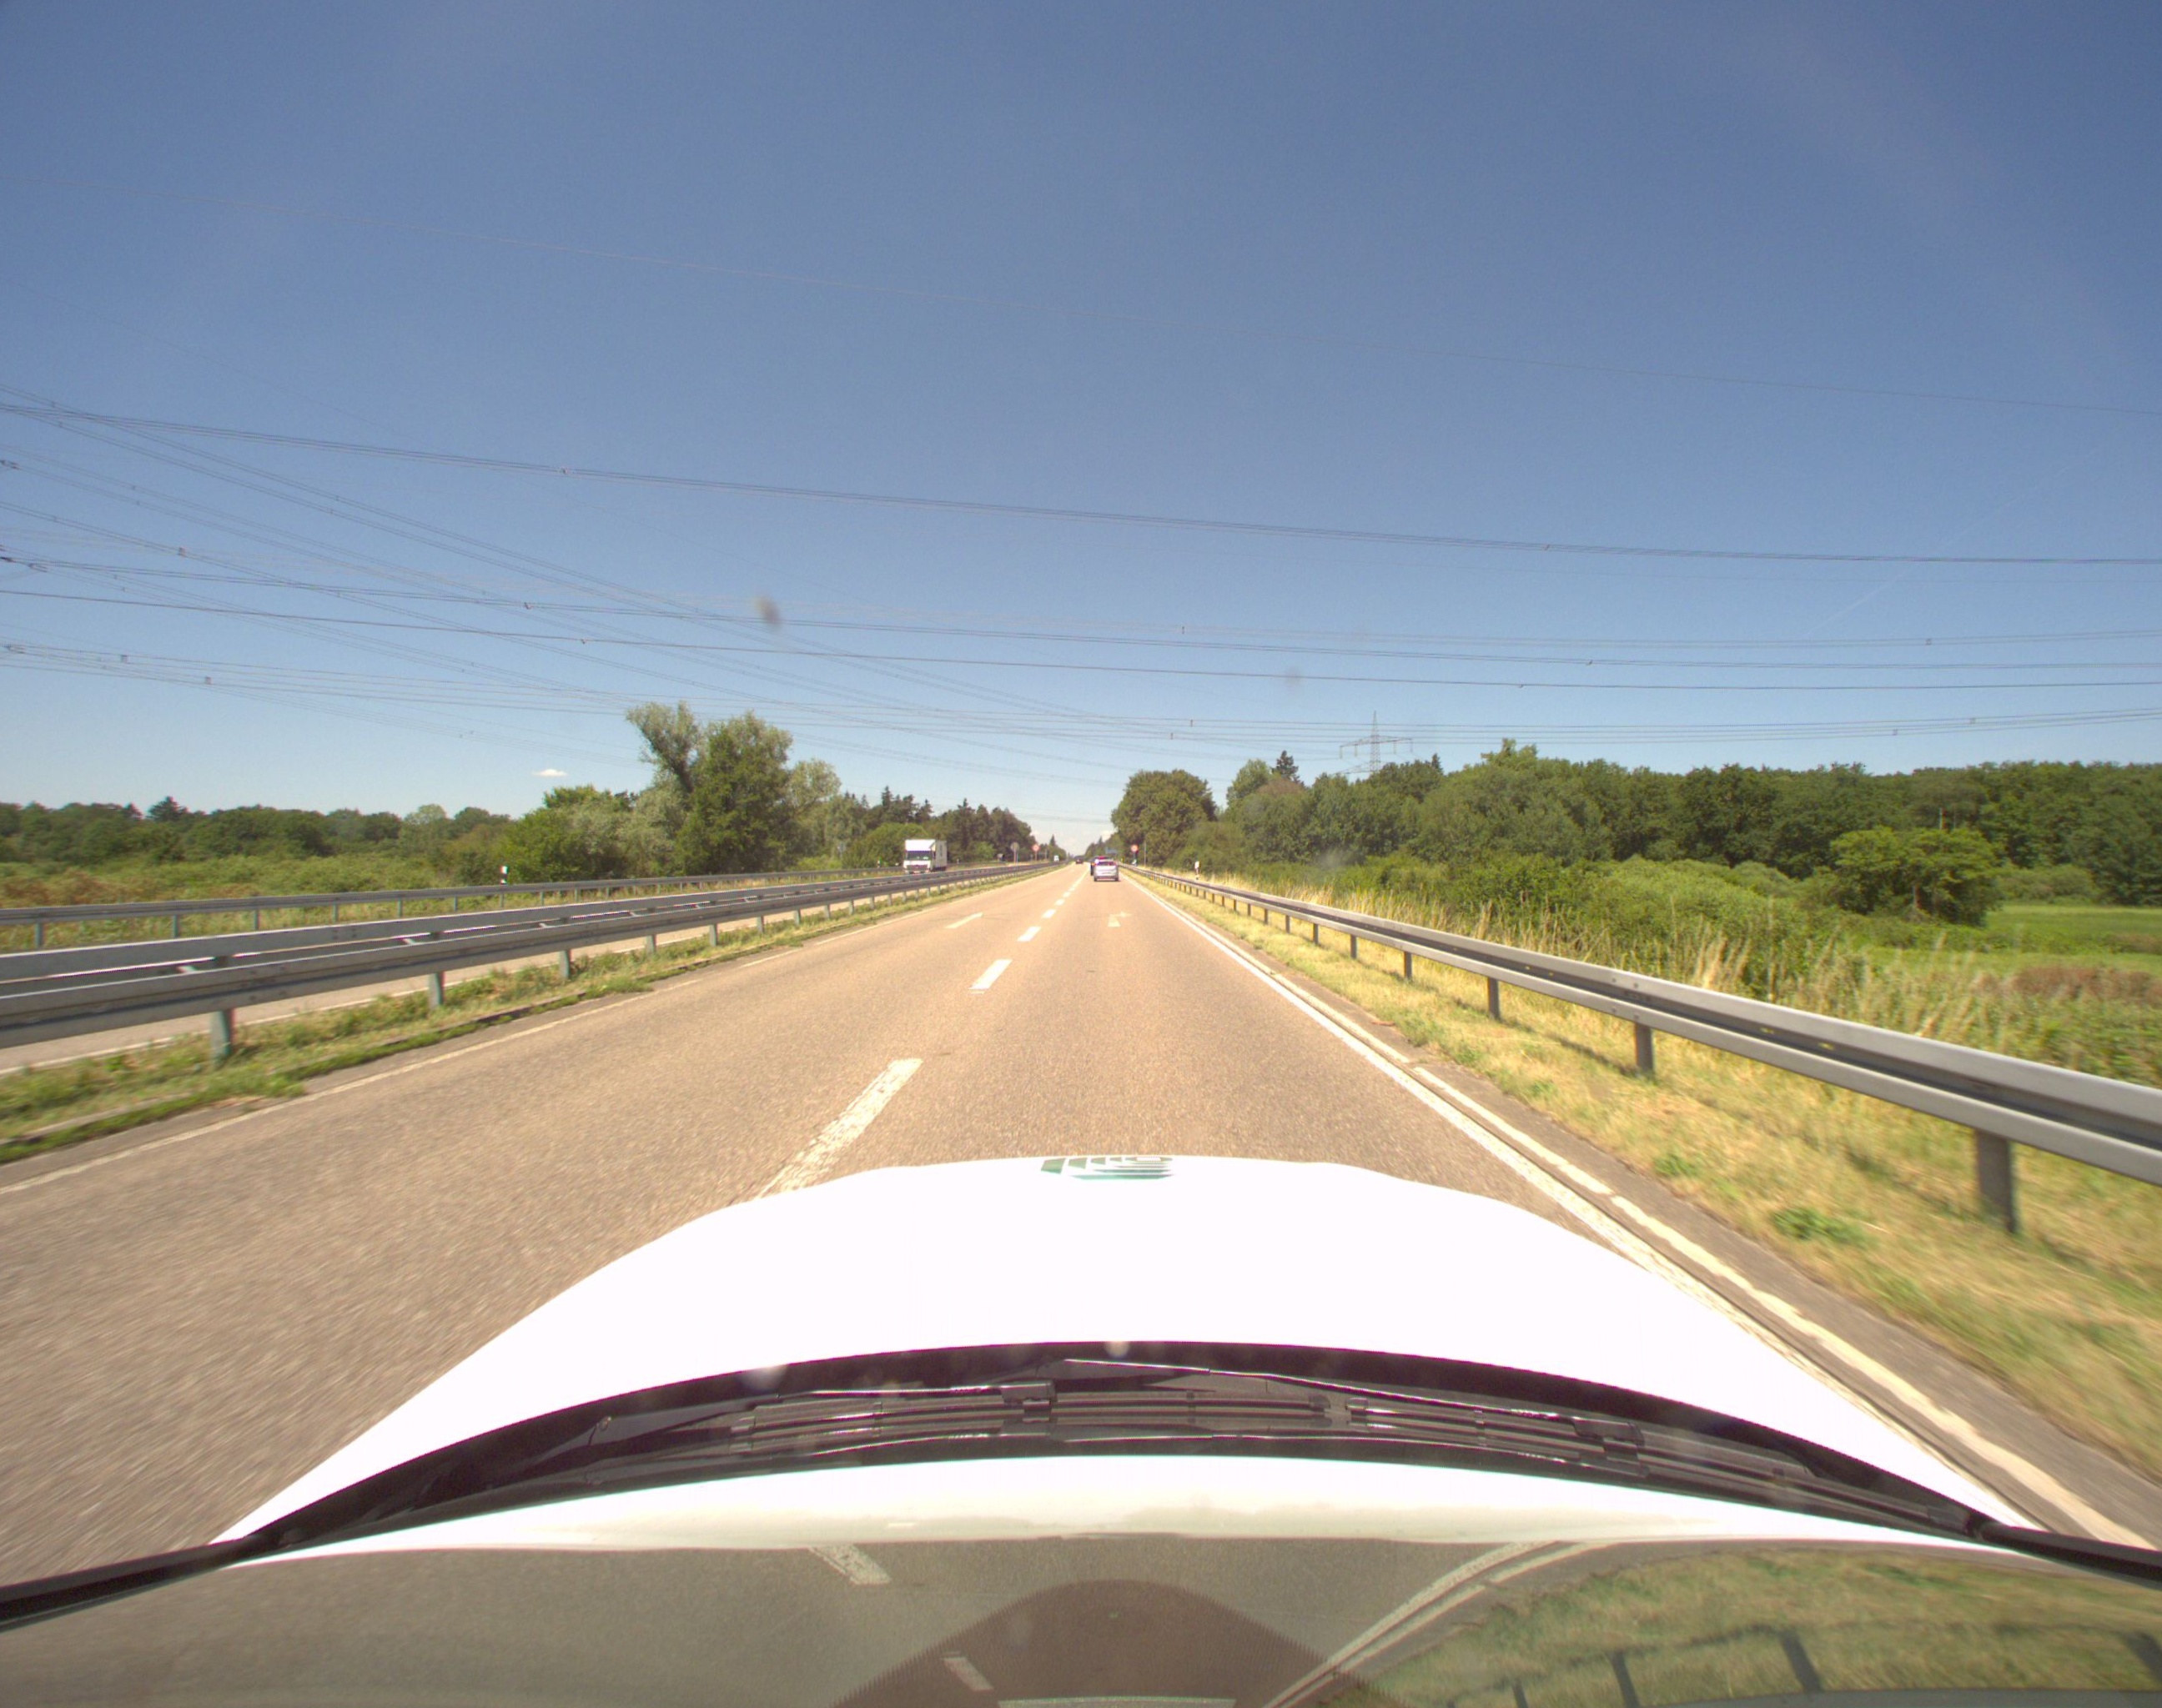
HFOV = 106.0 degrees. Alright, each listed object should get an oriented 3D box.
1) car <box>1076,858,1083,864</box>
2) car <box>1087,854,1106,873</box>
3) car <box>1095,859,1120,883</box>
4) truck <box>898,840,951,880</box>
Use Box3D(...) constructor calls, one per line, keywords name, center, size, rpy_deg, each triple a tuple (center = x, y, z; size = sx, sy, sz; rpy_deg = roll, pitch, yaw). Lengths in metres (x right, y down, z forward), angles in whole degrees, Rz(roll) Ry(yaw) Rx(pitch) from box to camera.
Box3D(name="car", center=(-0.311, 1.665, 200.236), size=(1.707, 1.471, 3.574), rpy_deg=(2, 0, 0))
Box3D(name="car", center=(1.382, 0.880, 73.830), size=(1.635, 1.654, 3.573), rpy_deg=(2, -1, 0))
Box3D(name="car", center=(1.773, 1.127, 55.171), size=(1.634, 1.468, 3.419), rpy_deg=(2, 0, 1))
Box3D(name="truck", center=(-13.373, 0.487, 70.252), size=(2.708, 3.193, 8.407), rpy_deg=(-1, 0, 1))
